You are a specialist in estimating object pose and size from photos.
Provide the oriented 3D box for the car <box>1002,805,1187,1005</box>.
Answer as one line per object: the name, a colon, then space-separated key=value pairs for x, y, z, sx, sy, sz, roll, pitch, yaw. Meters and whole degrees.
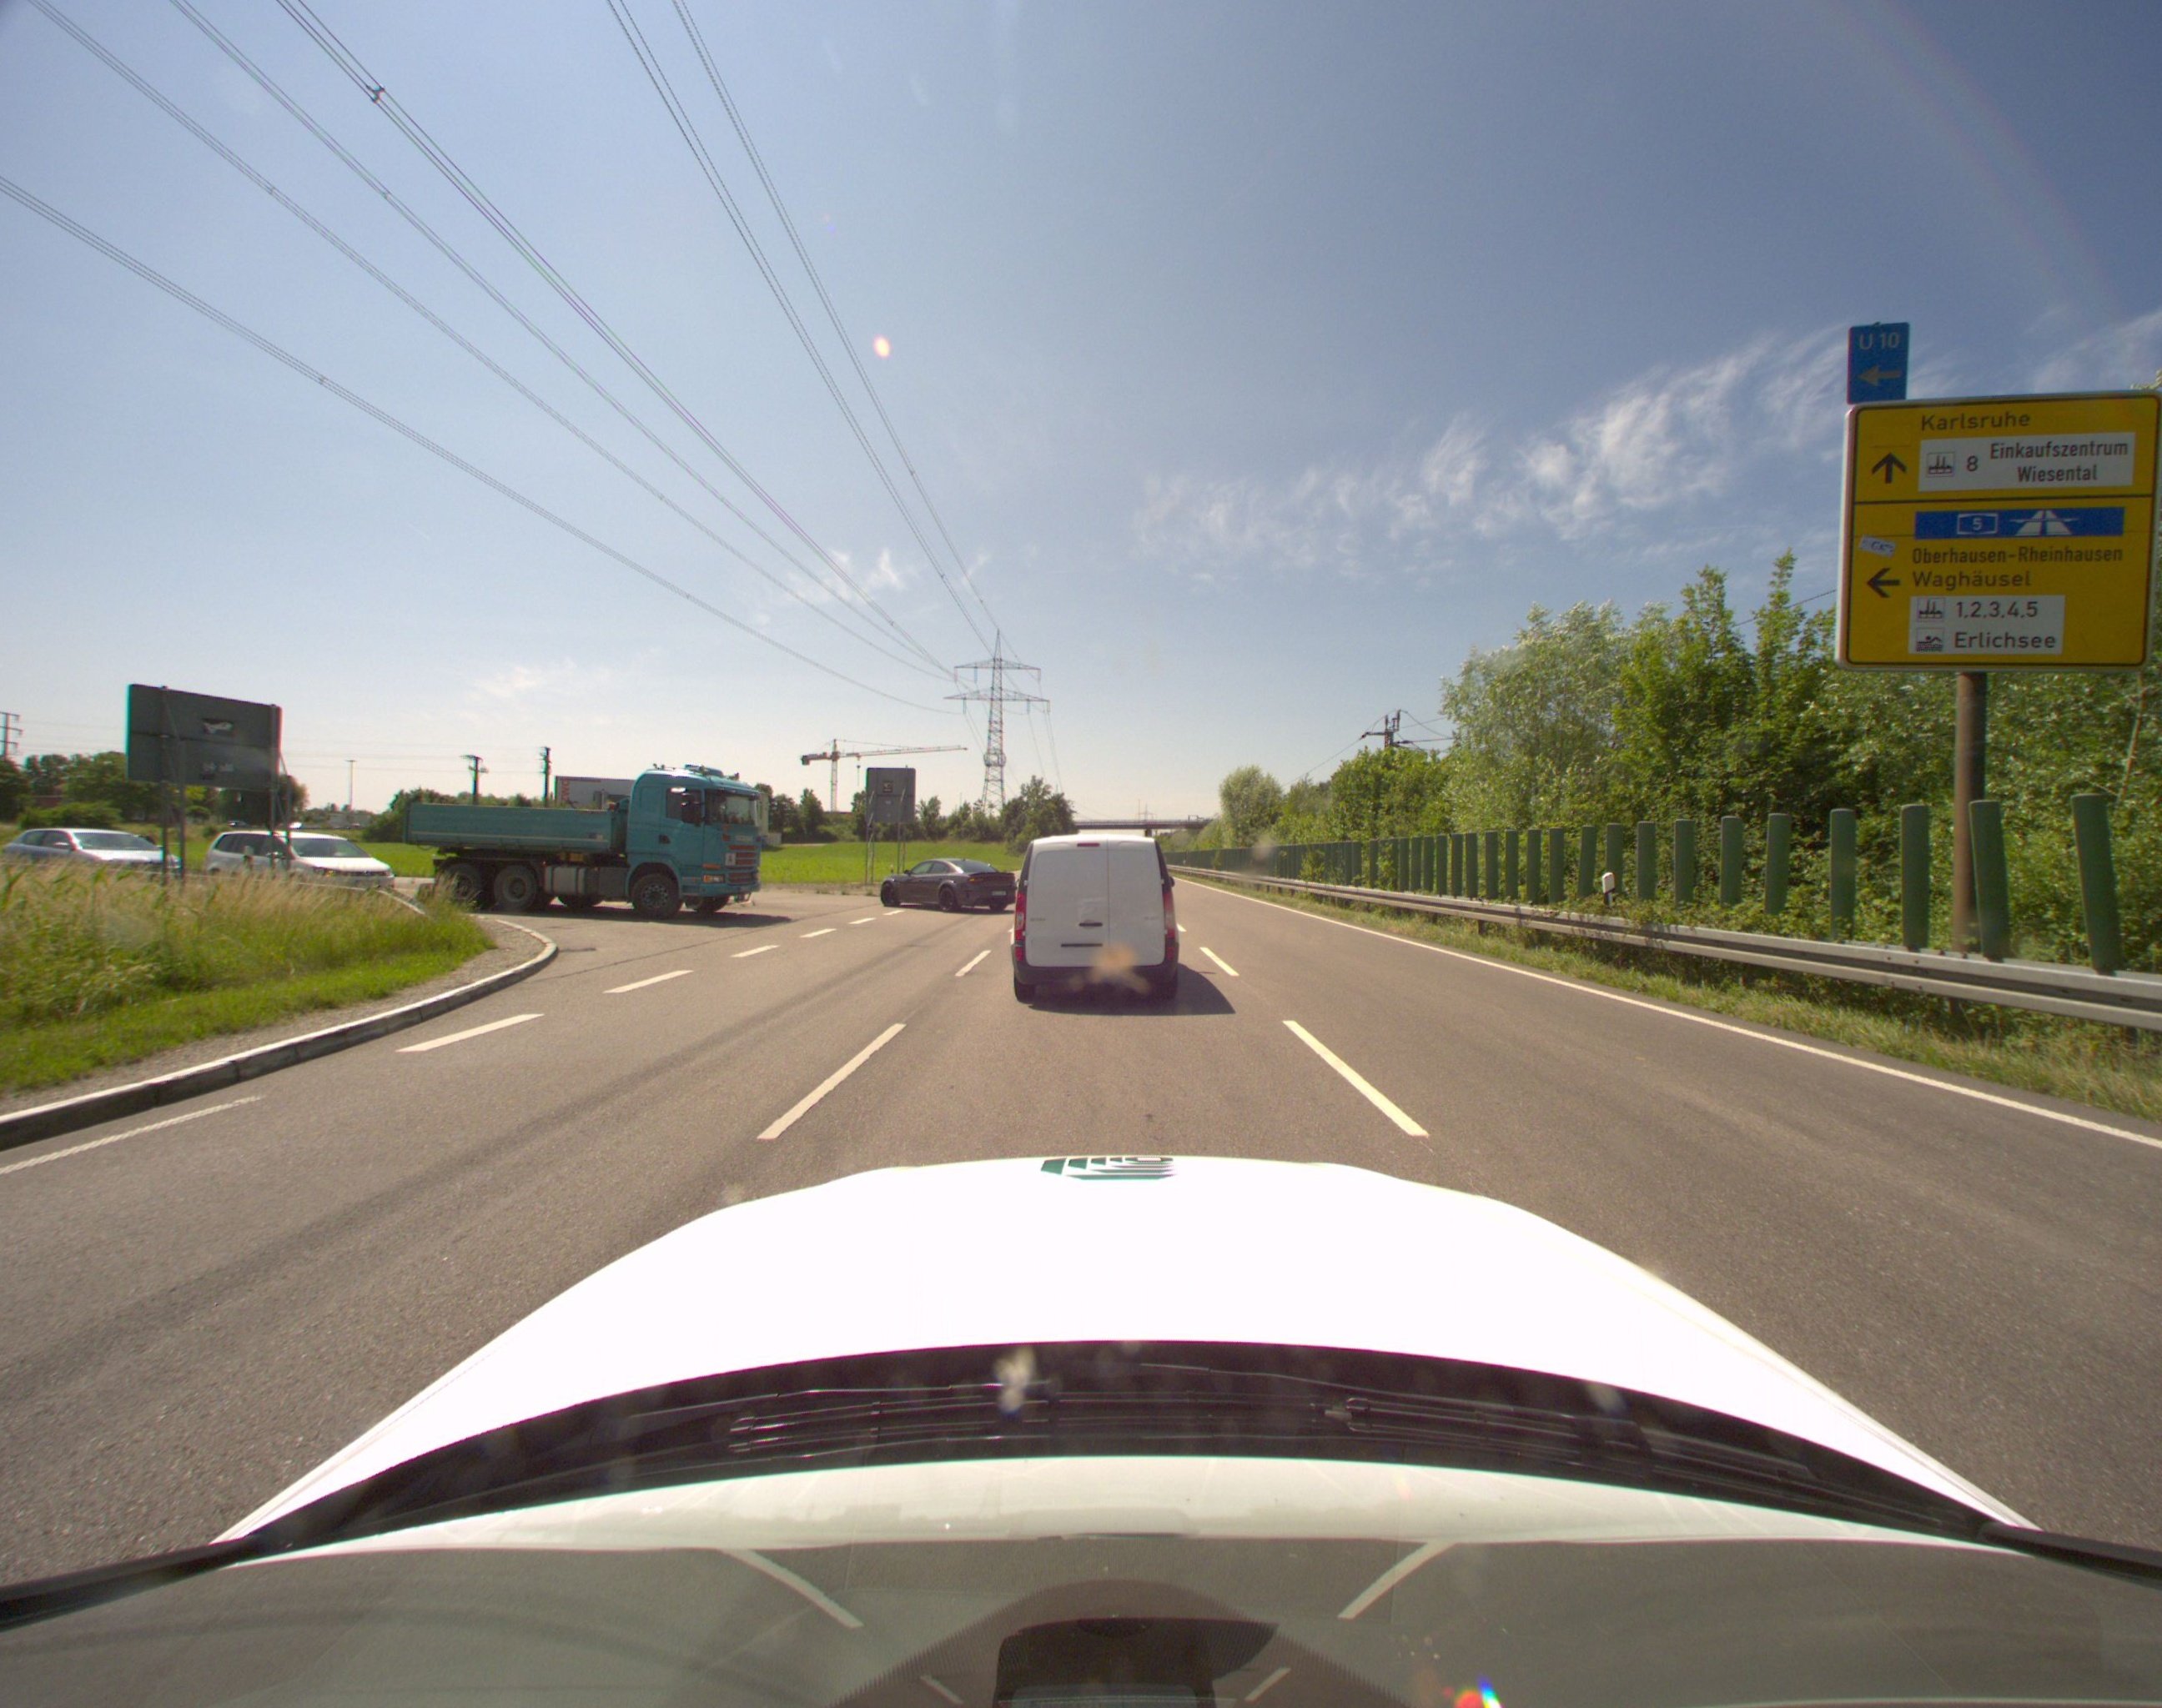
car: x=0.109 y=0.504 z=10.099 sx=1.821 sy=1.971 sz=3.998 roll=-1 pitch=0 yaw=-1

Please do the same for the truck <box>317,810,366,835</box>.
truck: x=-152.790 y=-6.405 z=168.514 sx=3.695 sy=4.646 sz=13.133 roll=1 pitch=0 yaw=-25

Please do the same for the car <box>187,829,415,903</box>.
car: x=-19.095 y=0.253 z=19.995 sx=4.507 sy=1.612 sz=1.976 roll=1 pitch=0 yaw=15

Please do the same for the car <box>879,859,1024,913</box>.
car: x=-3.872 y=0.864 z=23.797 sx=1.872 sy=1.396 sz=4.596 roll=1 pitch=-1 yaw=-44

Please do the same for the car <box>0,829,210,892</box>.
car: x=-25.197 y=0.135 z=20.960 sx=4.402 sy=1.470 sz=1.724 roll=1 pitch=0 yaw=12

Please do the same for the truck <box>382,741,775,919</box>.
truck: x=-11.841 y=-0.553 z=19.596 sx=7.870 sy=3.734 sz=2.500 roll=2 pitch=0 yaw=3

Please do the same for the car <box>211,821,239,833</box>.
car: x=-133.486 y=-4.198 z=127.010 sx=2.006 sy=1.679 sz=3.961 roll=0 pitch=0 yaw=-31
